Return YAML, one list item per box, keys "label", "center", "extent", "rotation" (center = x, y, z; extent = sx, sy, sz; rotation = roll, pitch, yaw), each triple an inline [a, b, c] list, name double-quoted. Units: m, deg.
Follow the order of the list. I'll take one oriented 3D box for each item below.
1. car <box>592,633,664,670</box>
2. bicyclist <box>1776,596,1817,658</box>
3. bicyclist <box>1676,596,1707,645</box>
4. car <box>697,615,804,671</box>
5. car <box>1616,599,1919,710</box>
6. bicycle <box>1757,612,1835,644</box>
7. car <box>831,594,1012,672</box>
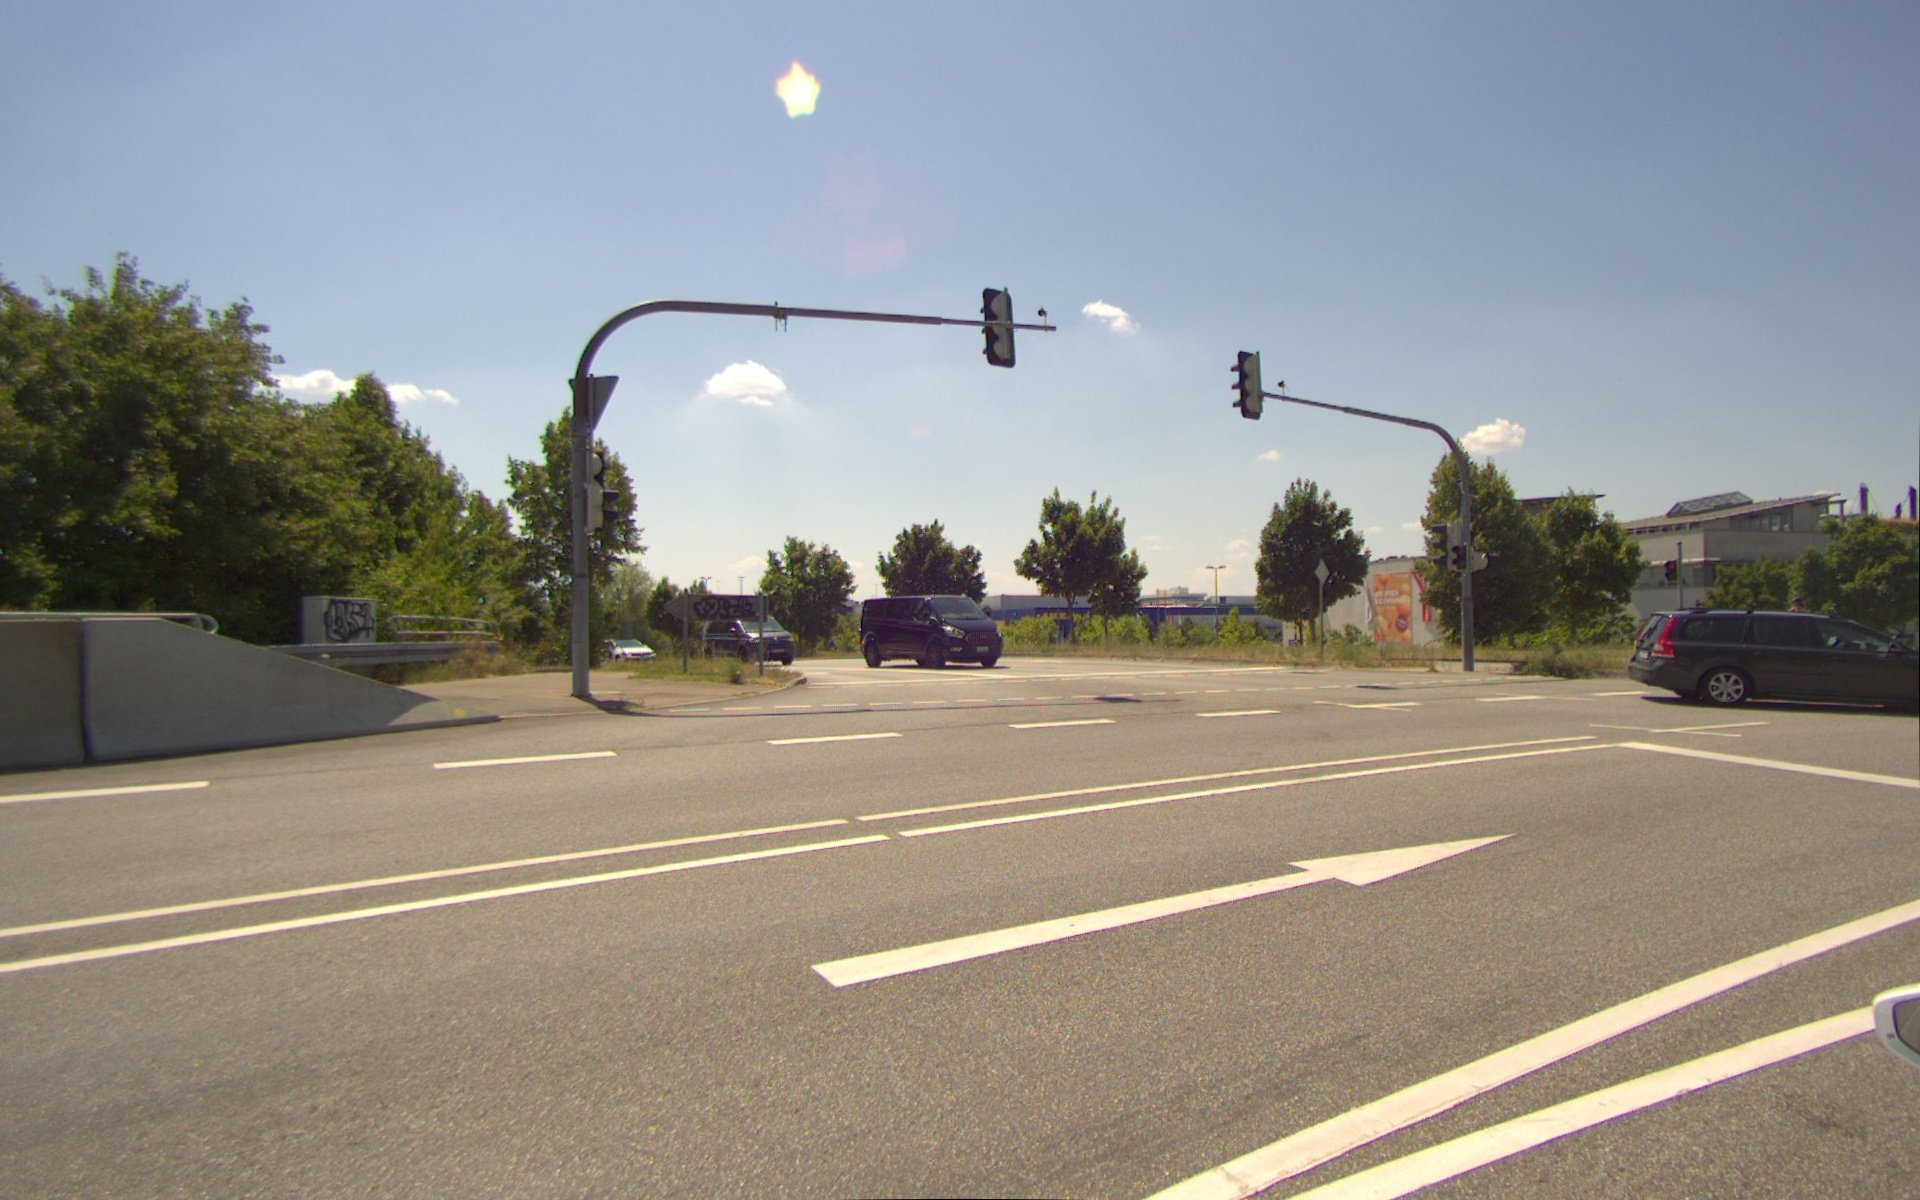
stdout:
- label: "car"
  center: [-15.756, 2.403, 47.563]
  extent: [1.782, 1.549, 3.950]
  rotation: [1, -1, -42]
- label: "bicyclist"
  center: [24.142, 0.773, 28.984]
  extent: [0.717, 1.741, 0.530]
  rotation: [1, 1, -11]
- label: "bicyclist"
  center: [21.637, 0.617, 29.720]
  extent: [0.675, 1.423, 0.406]
  rotation: [1, 1, -21]
- label: "car"
  center: [-7.798, 1.596, 37.067]
  extent: [1.930, 1.944, 4.479]
  rotation: [2, -3, -41]
- label: "car"
  center: [13.162, 0.811, 15.628]
  extent: [4.641, 1.566, 1.737]
  rotation: [1, -1, 20]
- label: "bicycle"
  center: [24.114, 0.805, 28.977]
  extent: [2.089, 0.864, 0.534]
  rotation: [1, 1, -11]
- label: "car"
  center: [-1.192, 0.991, 28.146]
  extent: [2.111, 1.963, 5.342]
  rotation: [2, -4, -43]
